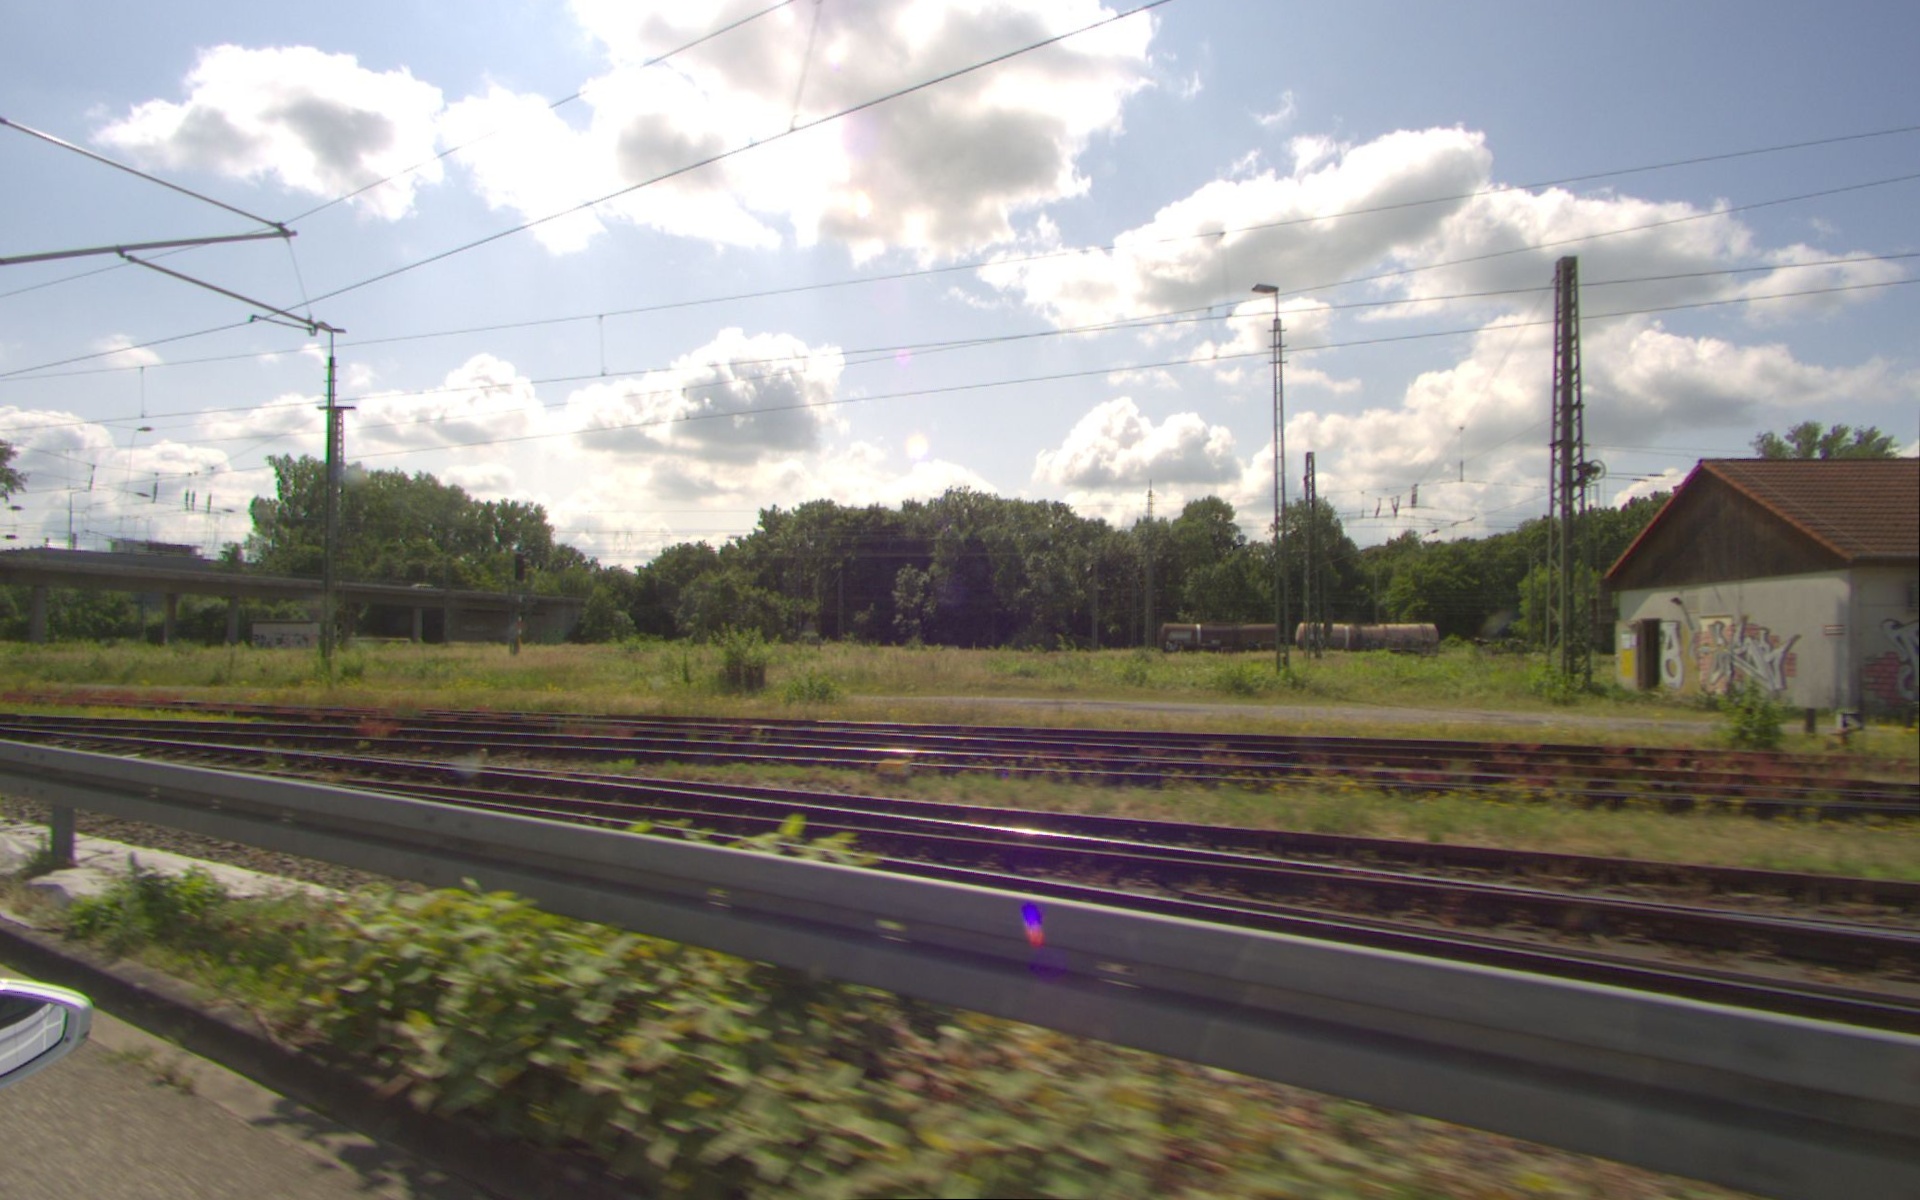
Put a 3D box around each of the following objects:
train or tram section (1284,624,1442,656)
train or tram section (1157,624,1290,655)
[{"bbox_3d":[43.035,4.266,107.350,15.454,3.347,3.036,0,-2,6],"label":"train or tram section"},{"bbox_3d":[28.516,4.288,108.798,13.669,3.347,3.036,0,-2,6],"label":"train or tram section"}]
